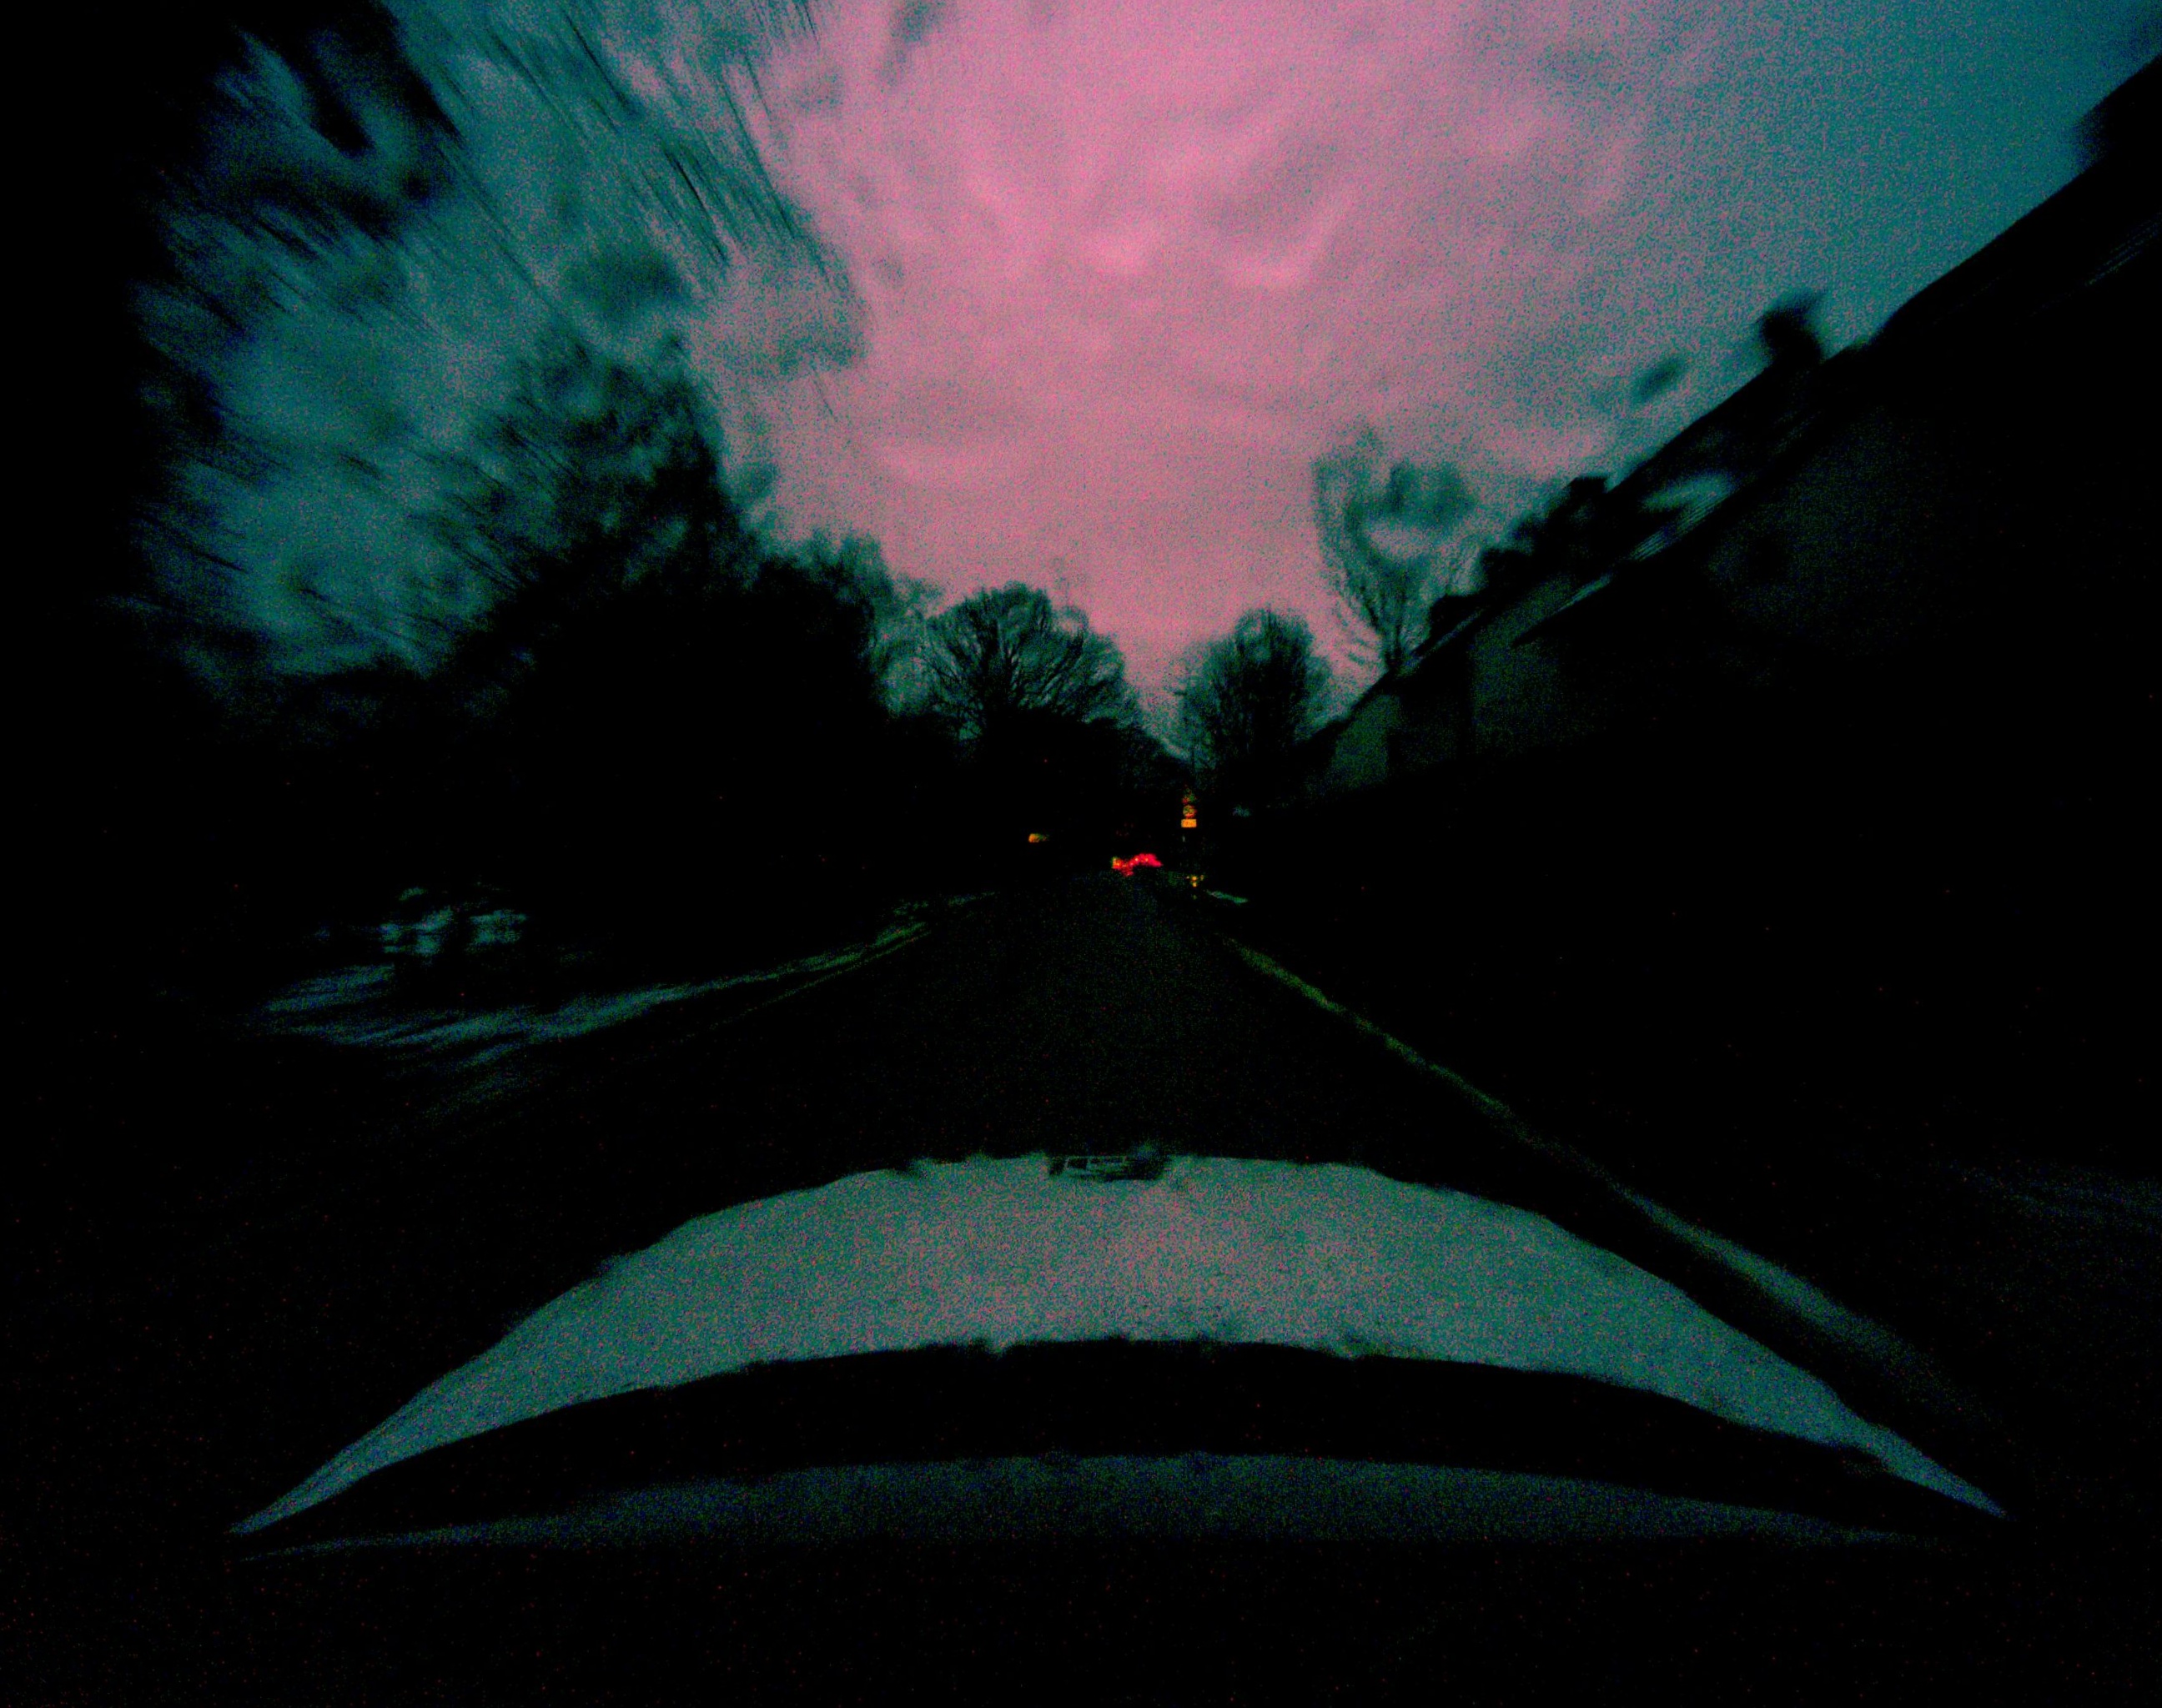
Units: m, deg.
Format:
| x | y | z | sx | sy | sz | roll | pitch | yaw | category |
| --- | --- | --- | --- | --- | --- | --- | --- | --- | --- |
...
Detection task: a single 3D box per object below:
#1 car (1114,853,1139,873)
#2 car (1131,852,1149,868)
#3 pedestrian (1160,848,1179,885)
| x | y | z | sx | sy | sz | roll | pitch | yaw | category |
| --- | --- | --- | --- | --- | --- | --- | --- | --- | --- |
| 4.367 | 0.852 | 77.839 | 1.922 | 1.781 | 4.009 | -2 | 0 | 8 | car |
| 6.587 | 0.671 | 90.379 | 1.924 | 1.676 | 4.006 | -2 | 0 | 5 | car |
| 3.983 | 0.566 | 36.844 | 0.741 | 1.655 | 0.971 | -2 | 0 | 1 | pedestrian |
